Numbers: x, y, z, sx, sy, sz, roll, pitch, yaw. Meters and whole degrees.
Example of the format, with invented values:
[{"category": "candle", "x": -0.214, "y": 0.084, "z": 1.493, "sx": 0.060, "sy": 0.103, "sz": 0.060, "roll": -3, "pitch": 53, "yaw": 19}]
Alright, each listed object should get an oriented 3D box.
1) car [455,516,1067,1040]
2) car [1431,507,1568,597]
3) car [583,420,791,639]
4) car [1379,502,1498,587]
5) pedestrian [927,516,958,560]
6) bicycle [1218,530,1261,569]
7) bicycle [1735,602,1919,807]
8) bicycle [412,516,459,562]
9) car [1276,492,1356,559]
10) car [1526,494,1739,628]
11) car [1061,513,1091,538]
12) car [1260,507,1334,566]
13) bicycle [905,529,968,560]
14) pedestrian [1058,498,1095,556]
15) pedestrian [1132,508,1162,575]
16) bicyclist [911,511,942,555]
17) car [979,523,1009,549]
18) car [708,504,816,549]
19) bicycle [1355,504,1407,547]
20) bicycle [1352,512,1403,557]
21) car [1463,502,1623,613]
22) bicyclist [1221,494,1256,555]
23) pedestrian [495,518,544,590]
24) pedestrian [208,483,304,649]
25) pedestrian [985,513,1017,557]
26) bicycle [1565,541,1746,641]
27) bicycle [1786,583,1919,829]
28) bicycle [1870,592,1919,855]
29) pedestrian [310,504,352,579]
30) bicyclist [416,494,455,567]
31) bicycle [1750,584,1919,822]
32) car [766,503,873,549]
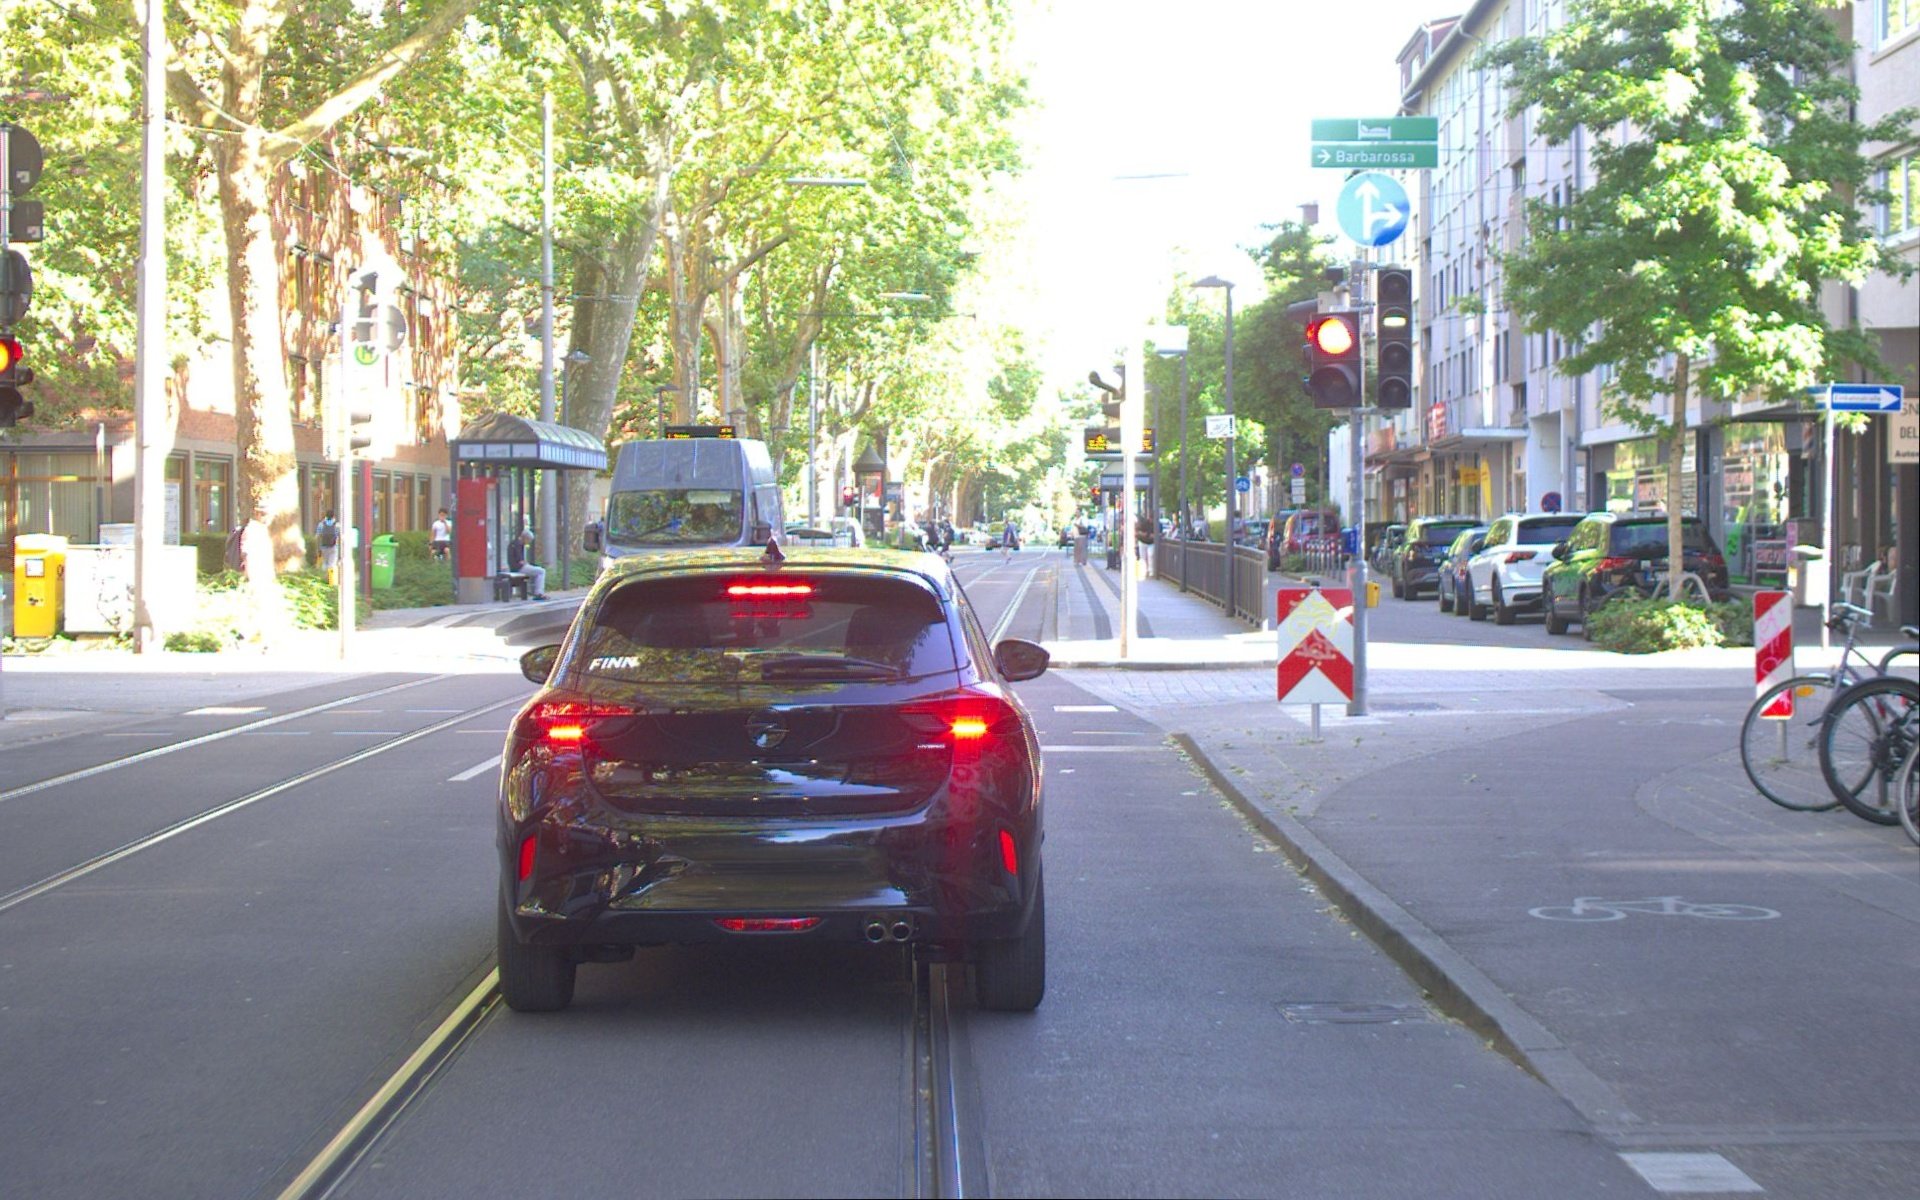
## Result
[{"category": "car", "x": -0.589, "y": 0.487, "z": 11.823, "sx": 1.760, "sy": 1.503, "sz": 3.683, "roll": -1, "pitch": 1, "yaw": 0}, {"category": "car", "x": 9.030, "y": -0.812, "z": 57.822, "sx": 1.744, "sy": 1.435, "sz": 4.247, "roll": 1, "pitch": 1, "yaw": 2}, {"category": "car", "x": -3.598, "y": -0.941, "z": 46.417, "sx": 2.114, "sy": 2.728, "sz": 6.115, "roll": -1, "pitch": 1, "yaw": 2}, {"category": "car", "x": 9.467, "y": -1.107, "z": 68.264, "sx": 1.857, "sy": 1.610, "sz": 4.398, "roll": 1, "pitch": 1, "yaw": 2}, {"category": "pedestrian", "x": -0.696, "y": -2.445, "z": 135.583, "sx": 1.163, "sy": 1.742, "sz": 0.958, "roll": 1, "pitch": 1, "yaw": -3}, {"category": "bicycle", "x": 8.215, "y": -1.489, "z": 101.076, "sx": 0.861, "sy": 1.132, "sz": 2.396, "roll": 1, "pitch": 1, "yaw": -5}, {"category": "bicycle", "x": 4.831, "y": 0.519, "z": 17.121, "sx": 1.815, "sy": 0.991, "sz": 0.481, "roll": 1, "pitch": 1, "yaw": -1}, {"category": "bicycle", "x": -12.707, "y": -1.480, "z": 83.383, "sx": 0.782, "sy": 1.107, "sz": 2.596, "roll": 1, "pitch": 1, "yaw": -1}, {"category": "car", "x": 10.605, "y": -2.203, "z": 102.630, "sx": 1.993, "sy": 1.946, "sz": 4.000, "roll": 1, "pitch": 1, "yaw": 1}, {"category": "car", "x": 8.723, "y": -0.518, "z": 44.947, "sx": 1.993, "sy": 1.610, "sz": 4.445, "roll": -2, "pitch": 1, "yaw": 2}, {"category": "car", "x": 7.368, "y": -4.750, "z": 218.216, "sx": 1.745, "sy": 1.539, "sz": 4.000, "roll": 1, "pitch": 1, "yaw": 0}, {"category": "car", "x": 10.699, "y": -2.016, "z": 109.272, "sx": 1.993, "sy": 1.791, "sz": 4.000, "roll": 1, "pitch": 1, "yaw": 1}, {"category": "bicycle", "x": -0.940, "y": -2.246, "z": 138.972, "sx": 2.480, "sy": 1.236, "sz": 0.958, "roll": 1, "pitch": 1, "yaw": -3}, {"category": "pedestrian", "x": 3.432, "y": -2.155, "z": 101.283, "sx": 0.751, "sy": 1.703, "sz": 0.762, "roll": 1, "pitch": 1, "yaw": 36}, {"category": "pedestrian", "x": 4.482, "y": -1.416, "z": 82.374, "sx": 0.631, "sy": 1.571, "sz": 0.870, "roll": 2, "pitch": 2, "yaw": 2}, {"category": "bicyclist", "x": -1.349, "y": -2.701, "z": 138.934, "sx": 1.163, "sy": 1.742, "sz": 0.958, "roll": 1, "pitch": 1, "yaw": -3}, {"category": "car", "x": 2.069, "y": -3.906, "z": 209.271, "sx": 1.745, "sy": 1.539, "sz": 4.000, "roll": 1, "pitch": 1, "yaw": 0}, {"category": "car", "x": -7.673, "y": -2.832, "z": 132.929, "sx": 4.113, "sy": 1.695, "sz": 1.884, "roll": 1, "pitch": 1, "yaw": -5}, {"category": "bicycle", "x": 11.537, "y": -2.038, "z": 94.349, "sx": 0.611, "sy": 1.132, "sz": 2.922, "roll": 1, "pitch": 1, "yaw": -9}, {"category": "bicycle", "x": 10.741, "y": -1.677, "z": 88.548, "sx": 0.621, "sy": 1.132, "sz": 2.440, "roll": 1, "pitch": 1, "yaw": -9}, {"category": "car", "x": 8.812, "y": -0.655, "z": 52.272, "sx": 1.799, "sy": 1.600, "sz": 4.415, "roll": 1, "pitch": 1, "yaw": 2}, {"category": "bicyclist", "x": 8.210, "y": -2.221, "z": 101.290, "sx": 0.861, "sy": 1.753, "sz": 1.054, "roll": 1, "pitch": 1, "yaw": -5}, {"category": "pedestrian", "x": -7.245, "y": -0.753, "z": 56.577, "sx": 0.705, "sy": 1.164, "sz": 0.659, "roll": -1, "pitch": 1, "yaw": -1}, {"category": "pedestrian", "x": -7.960, "y": -0.393, "z": 38.879, "sx": 0.924, "sy": 1.829, "sz": 0.920, "roll": 1, "pitch": 3, "yaw": -2}, {"category": "pedestrian", "x": 1.620, "y": -2.563, "z": 135.766, "sx": 1.163, "sy": 1.742, "sz": 0.958, "roll": 1, "pitch": 1, "yaw": -3}, {"category": "bicycle", "x": 8.464, "y": -0.120, "z": 41.895, "sx": 2.127, "sy": 1.183, "sz": 0.681, "roll": 1, "pitch": 1, "yaw": 10}, {"category": "bicycle", "x": 4.756, "y": 0.484, "z": 15.753, "sx": 1.815, "sy": 1.096, "sz": 0.481, "roll": 1, "pitch": 1, "yaw": -6}, {"category": "bicycle", "x": 4.875, "y": 0.515, "z": 14.723, "sx": 1.815, "sy": 1.096, "sz": 0.525, "roll": 0, "pitch": 1, "yaw": 1}, {"category": "pedestrian", "x": -14.122, "y": -1.302, "z": 77.192, "sx": 0.735, "sy": 1.666, "sz": 0.861, "roll": 1, "pitch": 1, "yaw": 2}, {"category": "bicyclist", "x": -12.703, "y": -1.691, "z": 83.294, "sx": 0.774, "sy": 1.744, "sz": 0.997, "roll": 1, "pitch": 1, "yaw": 0}, {"category": "bicycle", "x": 4.716, "y": 0.486, "z": 16.295, "sx": 1.815, "sy": 1.096, "sz": 0.498, "roll": 1, "pitch": 1, "yaw": -6}, {"category": "car", "x": -5.927, "y": -3.111, "z": 144.467, "sx": 4.384, "sy": 1.845, "sz": 2.000, "roll": 1, "pitch": 1, "yaw": -5}]
